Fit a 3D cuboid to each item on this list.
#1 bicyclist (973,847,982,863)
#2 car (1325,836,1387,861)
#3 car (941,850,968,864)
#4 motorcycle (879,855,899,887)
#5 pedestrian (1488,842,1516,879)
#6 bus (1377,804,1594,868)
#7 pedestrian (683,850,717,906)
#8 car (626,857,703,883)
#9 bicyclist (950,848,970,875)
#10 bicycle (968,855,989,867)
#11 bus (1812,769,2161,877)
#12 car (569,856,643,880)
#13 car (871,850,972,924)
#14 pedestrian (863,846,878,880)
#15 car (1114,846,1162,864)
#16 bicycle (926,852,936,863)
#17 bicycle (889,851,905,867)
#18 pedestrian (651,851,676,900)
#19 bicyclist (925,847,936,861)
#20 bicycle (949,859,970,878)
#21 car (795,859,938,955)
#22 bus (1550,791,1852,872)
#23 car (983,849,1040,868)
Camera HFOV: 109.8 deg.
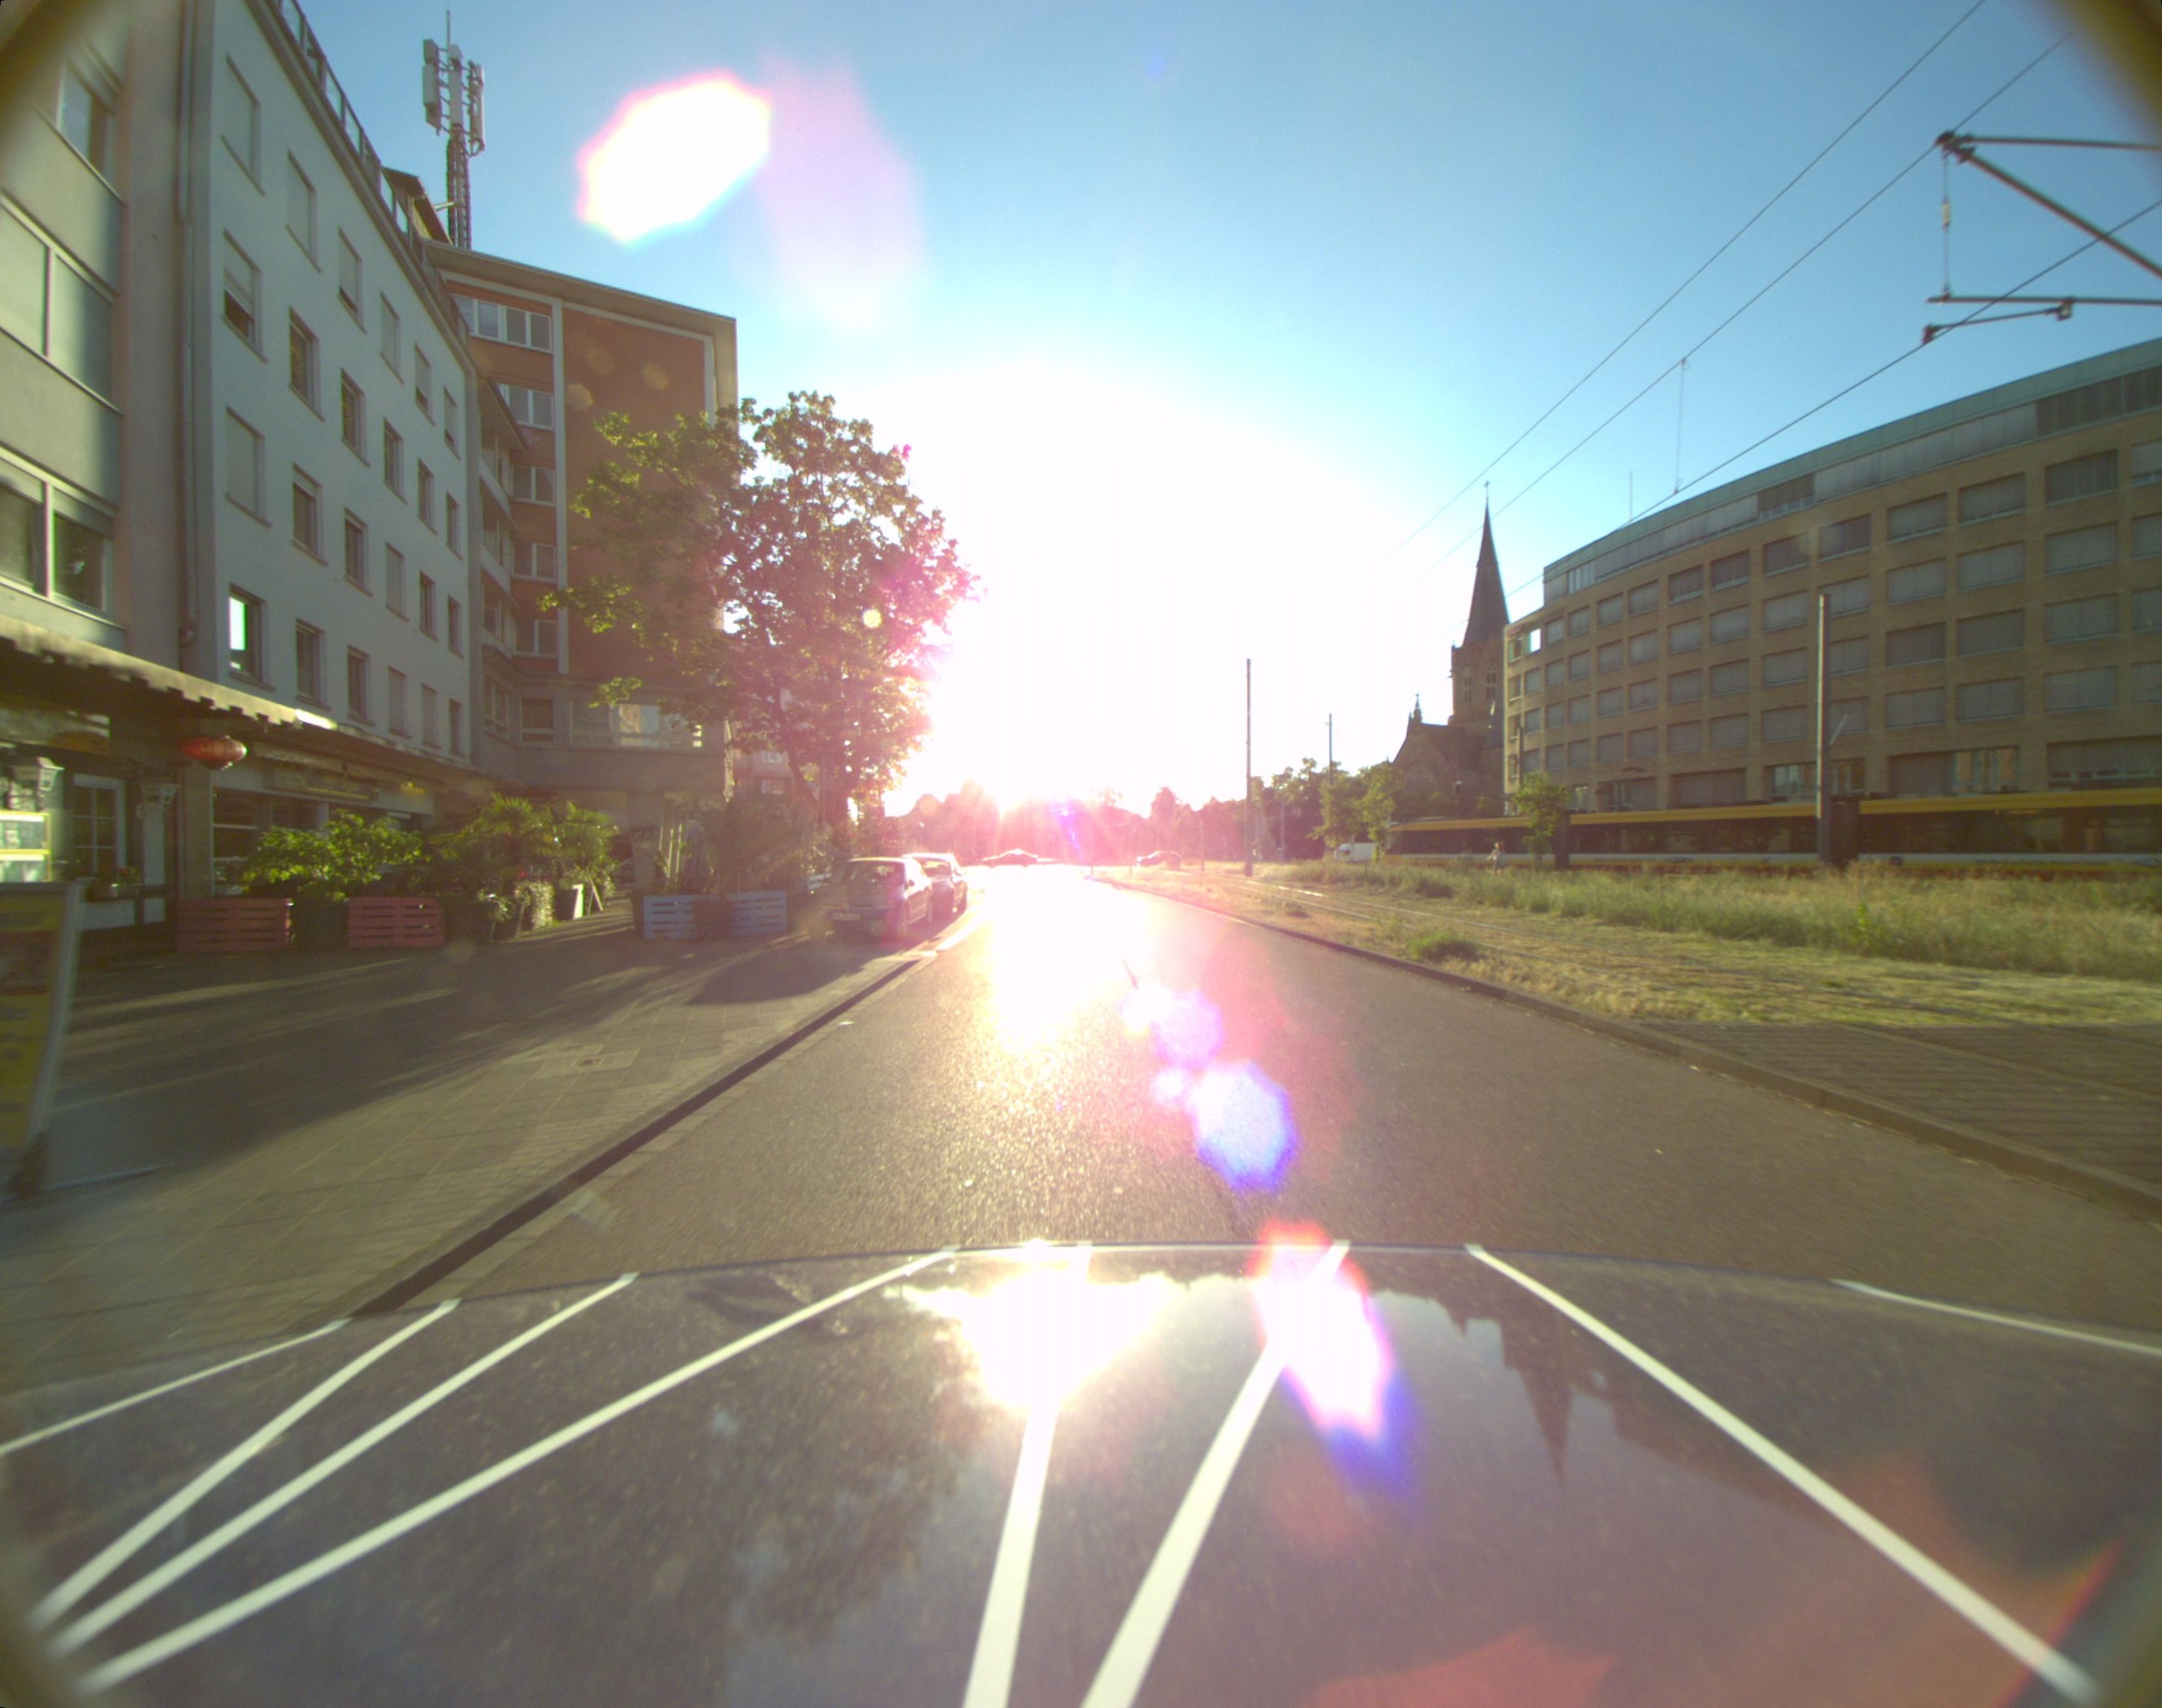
[{"bbox_3d":[-10.477,0.107,76.648,0.734,1.559,0.822,-2,1,-18],"label":"bicyclist"},{"bbox_3d":[32.374,-0.648,89.330,7.209,2.861,2.304,-1,1,-22],"label":"car"},{"bbox_3d":[-14.137,0.364,85.055,1.958,1.485,3.951,-2,1,-25],"label":"car"},{"bbox_3d":[-8.288,0.710,32.876,0.643,1.336,2.200,-2,1,-11],"label":"motorcycle"},{"bbox_3d":[16.575,0.245,29.910,0.672,1.450,0.699,-2,1,-4],"label":"pedestrian"},{"bbox_3d":[24.387,-0.988,47.081,3.765,3.436,12.107,-2,1,-24],"label":"bus"},{"bbox_3d":[-11.948,0.729,23.819,0.896,1.716,0.772,0,0,-30],"label":"pedestrian"},{"bbox_3d":[-26.977,1.042,49.370,4.194,1.418,1.927,-2,3,-23],"label":"car"},{"bbox_3d":[-6.671,0.420,41.926,0.799,1.472,0.805,-2,1,-30],"label":"bicyclist"},{"bbox_3d":[-10.353,0.666,76.695,1.973,1.175,0.489,-1,1,-19],"label":"bicycle"},{"bbox_3d":[34.544,-1.007,25.695,3.766,3.343,13.683,-2,1,-27],"label":"bus"},{"bbox_3d":[-33.395,0.960,53.509,4.015,1.460,1.917,-2,1,-17],"label":"car"},{"bbox_3d":[-4.039,0.756,19.983,1.809,1.660,4.811,-2,0,-3],"label":"car"},{"bbox_3d":[-12.326,0.502,44.457,0.702,1.946,0.847,0,1,-6],"label":"pedestrian"},{"bbox_3d":[5.196,0.095,69.717,4.001,1.534,1.998,-2,1,-11],"label":"car"},{"bbox_3d":[-16.672,0.428,84.342,0.576,1.193,2.201,-2,1,-22],"label":"bicycle"},{"bbox_3d":[-14.025,0.360,57.989,0.491,1.175,1.966,-2,1,-34],"label":"bicycle"},{"bbox_3d":[-15.008,0.752,27.319,0.656,1.715,0.875,-2,1,-25],"label":"pedestrian"},{"bbox_3d":[-16.670,0.003,84.336,0.997,1.529,0.921,-2,1,-23],"label":"bicyclist"},{"bbox_3d":[-6.735,0.777,42.105,0.516,1.021,1.790,-2,1,-30],"label":"bicycle"},{"bbox_3d":[-4.015,0.914,14.905,1.655,1.525,4.065,-2,1,-1],"label":"car"},{"bbox_3d":[29.152,-0.967,36.715,3.765,3.312,10.714,-2,1,-25],"label":"bus"},{"bbox_3d":[-6.349,0.396,69.283,5.028,1.499,1.723,-2,1,-11],"label":"car"}]
